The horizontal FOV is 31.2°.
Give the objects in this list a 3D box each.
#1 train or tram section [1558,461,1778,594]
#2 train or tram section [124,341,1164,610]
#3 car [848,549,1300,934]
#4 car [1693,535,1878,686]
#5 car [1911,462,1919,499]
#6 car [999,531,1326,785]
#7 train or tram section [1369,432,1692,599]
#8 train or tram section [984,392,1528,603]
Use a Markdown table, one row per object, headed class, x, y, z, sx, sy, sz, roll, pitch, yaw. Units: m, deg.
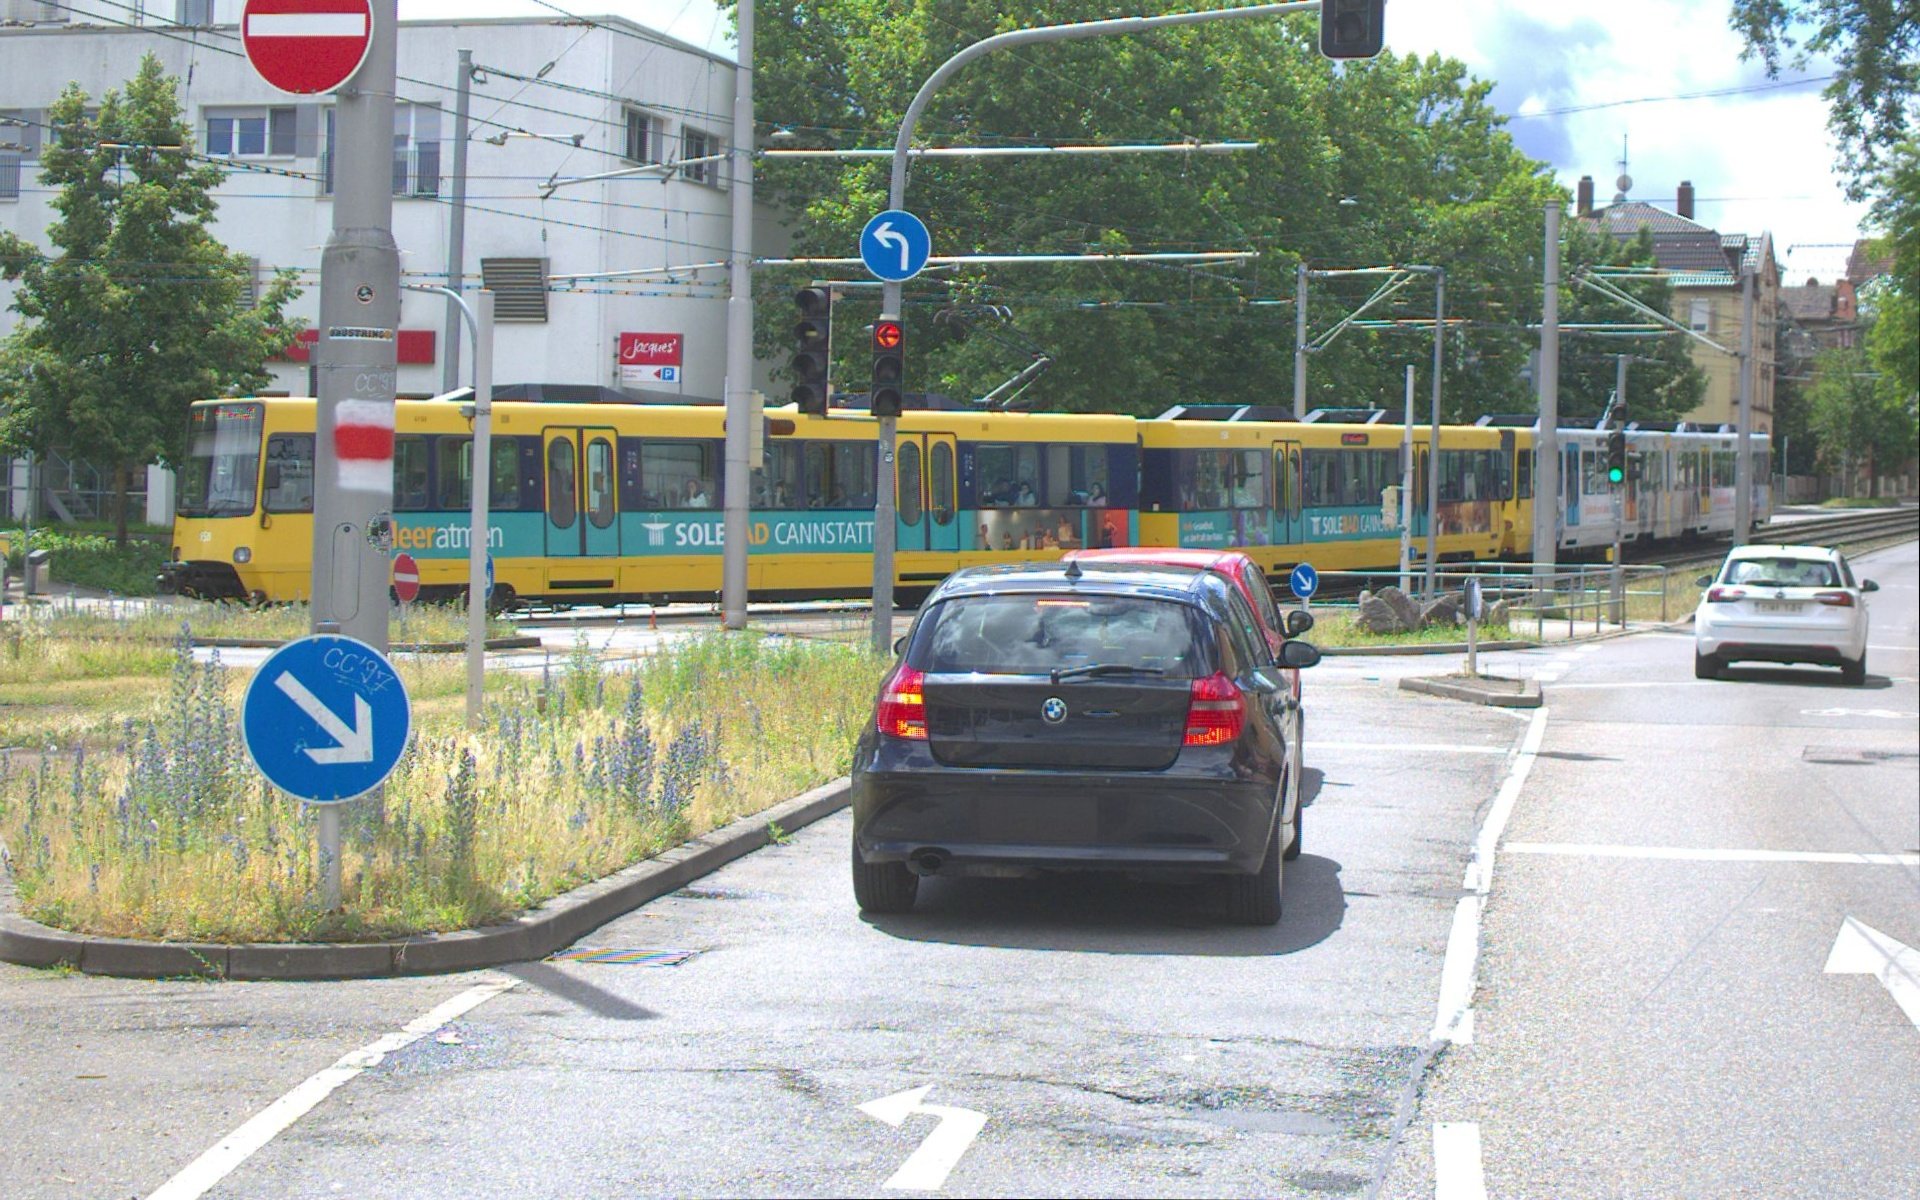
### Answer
| class | x | y | z | sx | sy | sz | roll | pitch | yaw |
| --- | --- | --- | --- | --- | --- | --- | --- | --- | --- |
| train or tram section | 22.595 | -2.122 | 108.396 | 3.753 | 3.801 | 20.030 | 0 | 0 | 20 |
| train or tram section | -4.558 | -1.837 | 57.641 | 18.843 | 3.905 | 3.760 | 0 | 0 | -42 |
| car | 0.483 | 0.523 | 14.929 | 1.701 | 1.447 | 4.000 | 0 | 0 | 2 |
| car | 9.241 | 0.070 | 38.434 | 1.816 | 1.463 | 3.998 | 4 | 2 | 14 |
| car | 54.873 | -6.699 | 193.331 | 1.996 | 2.007 | 3.994 | 0 | 0 | 26 |
| car | 1.383 | 0.328 | 22.002 | 1.625 | 1.468 | 3.998 | 0 | 0 | 10 |
| train or tram section | 15.343 | -2.008 | 90.000 | 3.753 | 3.866 | 20.611 | 0 | 0 | 23 |
| train or tram section | 6.834 | -1.893 | 72.031 | 3.755 | 3.816 | 20.118 | 0 | 0 | 28 |
